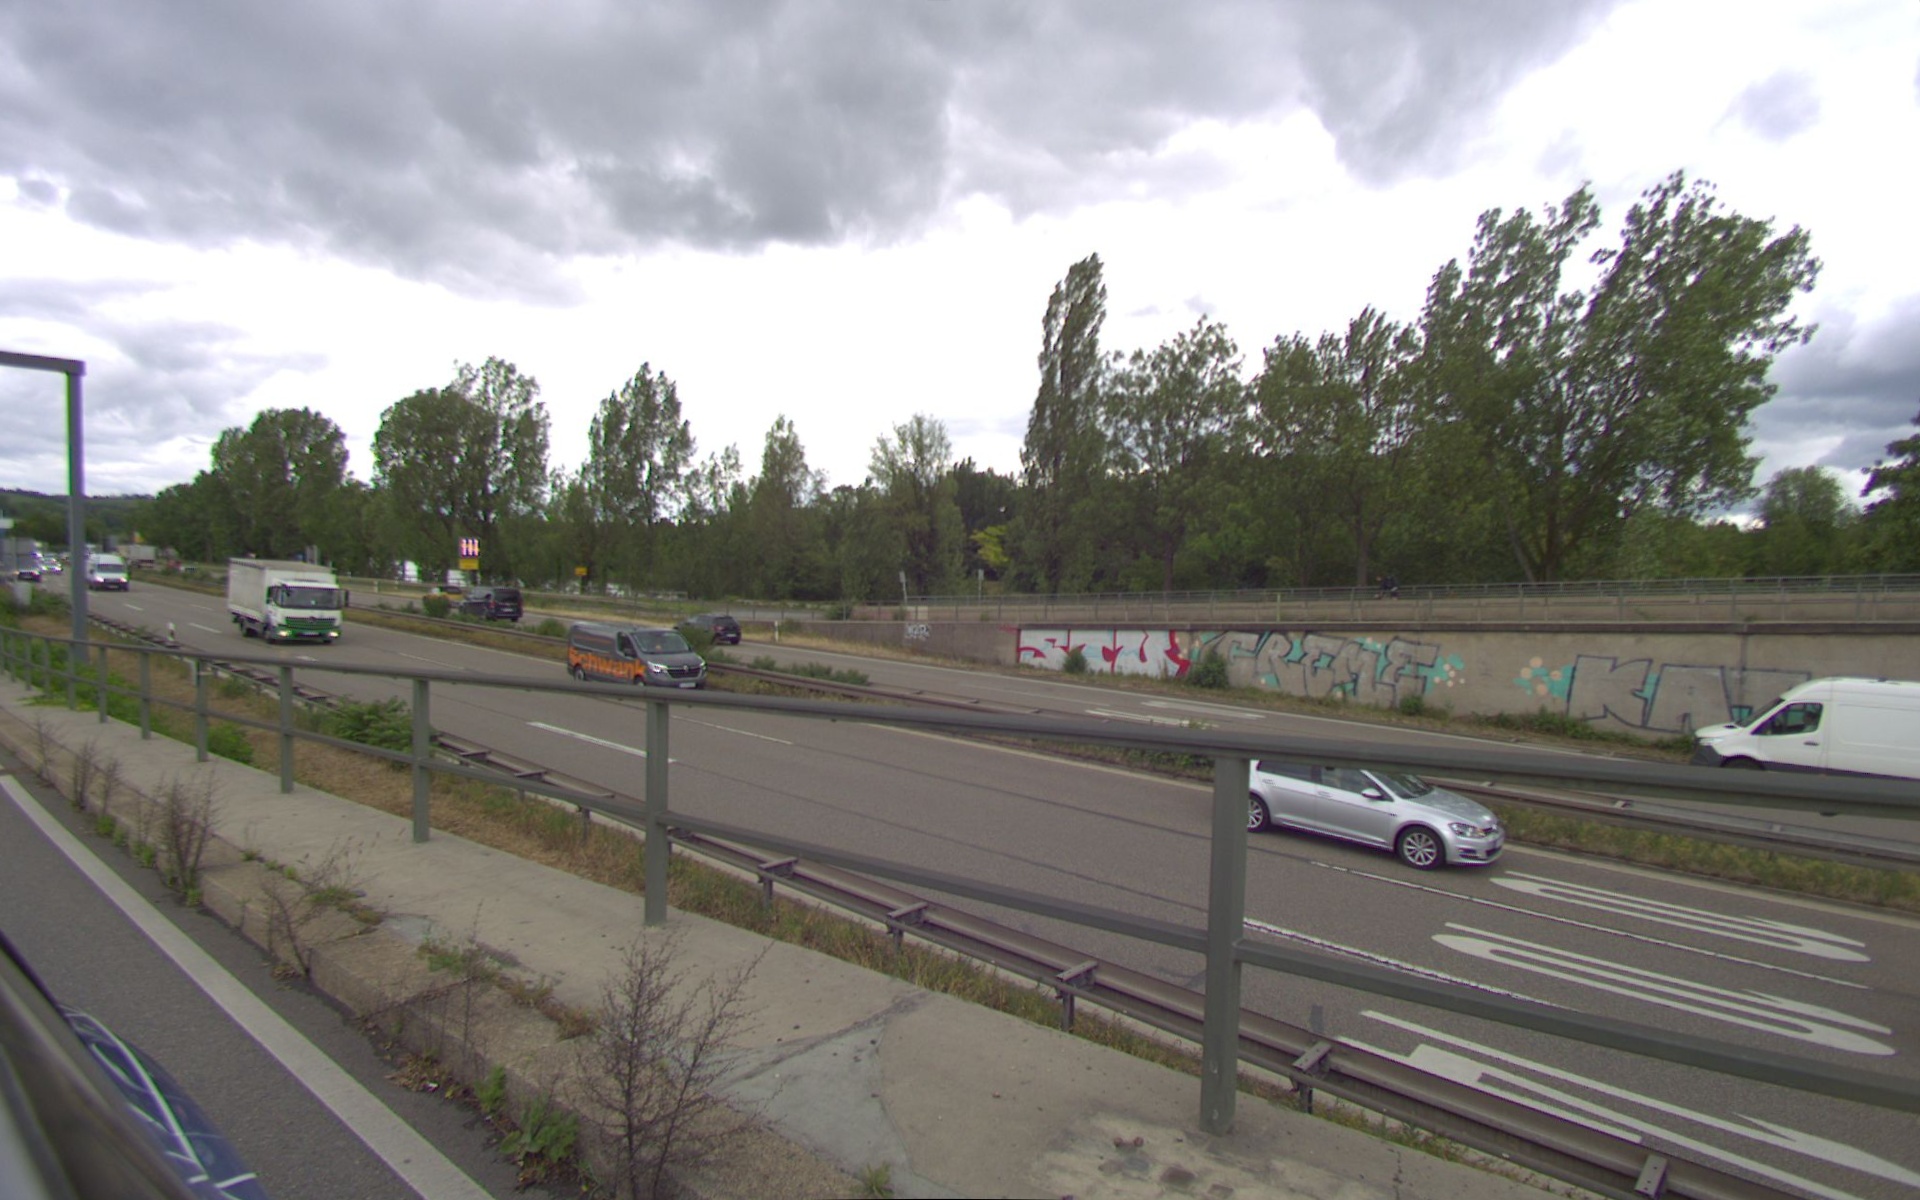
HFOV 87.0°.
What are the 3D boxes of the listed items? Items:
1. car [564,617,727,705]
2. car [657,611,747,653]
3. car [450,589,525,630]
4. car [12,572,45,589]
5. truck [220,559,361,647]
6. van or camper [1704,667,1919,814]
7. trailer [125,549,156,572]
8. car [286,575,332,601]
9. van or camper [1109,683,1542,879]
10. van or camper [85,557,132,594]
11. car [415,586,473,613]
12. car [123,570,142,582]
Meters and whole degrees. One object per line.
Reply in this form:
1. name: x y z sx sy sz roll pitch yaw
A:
1. car: -9.395 1.697 29.990 5.338 2.028 2.072 4 2 41
2. car: -12.574 1.528 49.251 4.704 1.705 1.972 3 2 43
3. car: -27.382 0.516 58.577 5.116 2.003 2.069 4 2 43
4. car: -79.036 -1.670 85.813 1.970 1.410 4.004 1 1 -44
5. truck: -27.976 0.041 42.122 7.567 3.182 3.000 4 2 41
6. van or camper: 19.524 2.976 21.060 6.343 2.475 2.160 3 3 40
7. trailer: -147.814 -7.111 182.445 13.519 3.978 2.759 3 3 44
8. car: -54.135 -1.022 84.109 4.704 1.704 1.972 7 4 42
9. van or camper: 5.630 2.671 16.433 6.346 1.882 1.862 4 3 41
10. van or camper: -64.195 -1.892 76.279 6.333 2.623 2.179 4 3 45
11. car: -36.323 -0.056 71.193 4.701 1.732 1.973 3 1 41
12. car: -130.526 -3.755 159.606 1.971 1.765 4.003 1 1 -45
